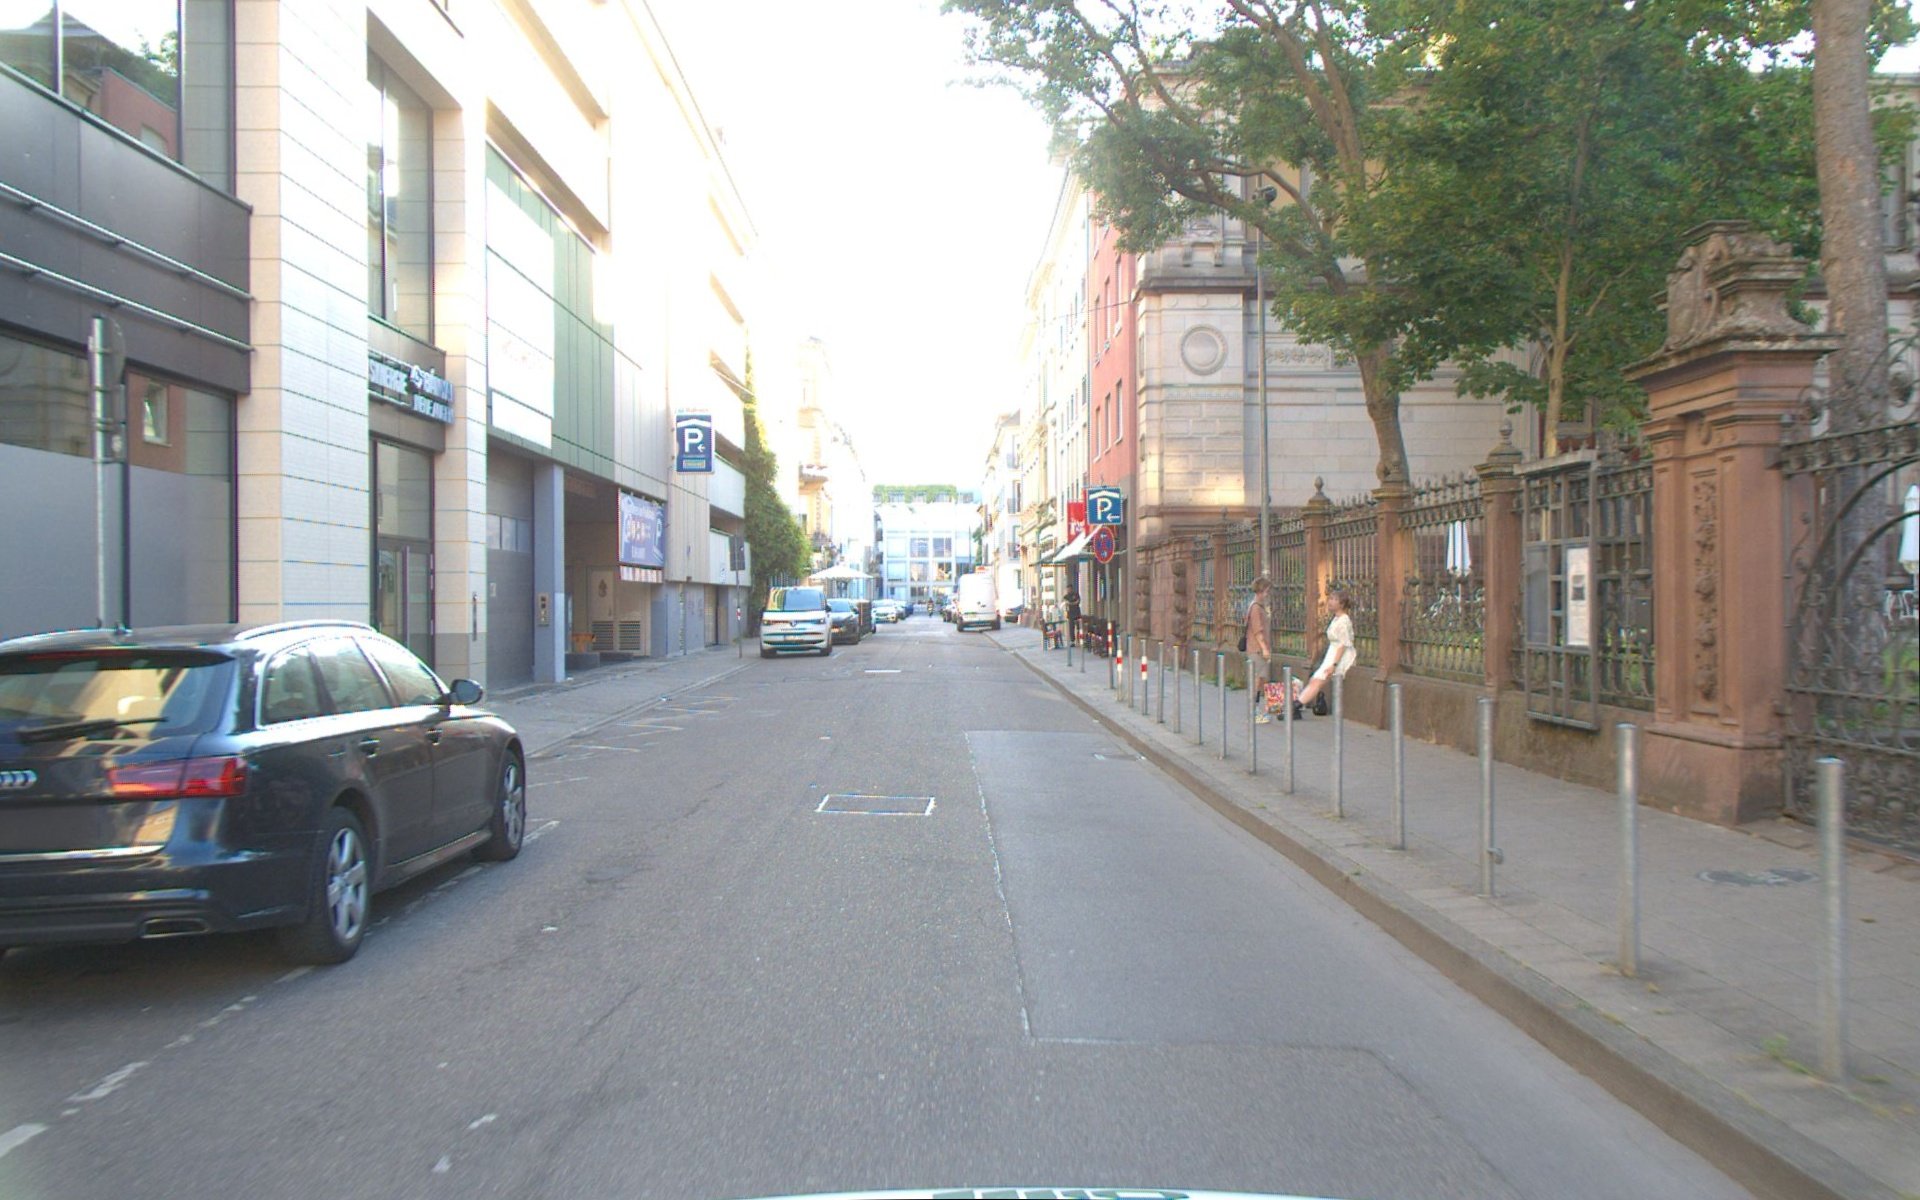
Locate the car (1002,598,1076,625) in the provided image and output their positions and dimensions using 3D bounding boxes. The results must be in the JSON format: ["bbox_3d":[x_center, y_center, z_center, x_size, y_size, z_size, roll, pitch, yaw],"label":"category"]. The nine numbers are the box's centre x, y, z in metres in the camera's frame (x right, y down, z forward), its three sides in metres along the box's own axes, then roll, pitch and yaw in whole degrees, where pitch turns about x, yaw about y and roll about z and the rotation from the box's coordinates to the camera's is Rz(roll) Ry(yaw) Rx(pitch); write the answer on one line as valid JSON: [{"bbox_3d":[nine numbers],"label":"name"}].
[{"bbox_3d":[4.312,0.616,90.618,3.906,1.445,1.656,0,-1,-1],"label":"car"}]

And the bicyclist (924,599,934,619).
[{"bbox_3d":[-2.910,0.839,154.672,0.970,1.901,0.708,0,-1,-1],"label":"bicyclist"}]

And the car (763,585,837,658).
[{"bbox_3d":[-4.451,0.569,46.574,1.846,1.945,4.745,0,0,-3],"label":"car"}]

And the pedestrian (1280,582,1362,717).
[{"bbox_3d":[4.227,0.573,19.393,0.735,1.526,0.618,-2,0,-7],"label":"pedestrian"}]

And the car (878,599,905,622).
[{"bbox_3d":[-5.324,0.820,128.563,1.953,1.713,3.999,0,-1,-1],"label":"car"}]

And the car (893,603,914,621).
[{"bbox_3d":[-5.376,1.143,158.704,1.953,1.713,3.999,0,-1,-1],"label":"car"}]

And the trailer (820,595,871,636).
[{"bbox_3d":[-4.604,0.628,67.030,1.953,1.584,3.998,0,-1,-2],"label":"trailer"}]

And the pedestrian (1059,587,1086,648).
[{"bbox_3d":[3.198,0.497,46.929,0.648,1.695,0.624,-2,0,-1],"label":"pedestrian"}]

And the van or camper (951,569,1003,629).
[{"bbox_3d":[0.786,-0.025,79.952,2.213,2.652,5.110,-5,-1,-1],"label":"van or camper"}]

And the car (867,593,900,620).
[{"bbox_3d":[-4.902,0.443,106.054,1.953,1.713,3.999,0,-1,-1],"label":"car"}]

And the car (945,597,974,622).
[{"bbox_3d":[-0.057,0.674,116.491,1.953,1.713,3.999,0,-1,-1],"label":"car"}]

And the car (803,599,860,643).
[{"bbox_3d":[-4.466,0.705,57.815,1.846,1.478,3.998,0,0,-3],"label":"car"}]

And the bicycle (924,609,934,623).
[{"bbox_3d":[-2.890,1.486,154.761,0.955,1.303,2.753,0,-1,-1],"label":"bicycle"}]

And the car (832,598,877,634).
[{"bbox_3d":[-4.529,0.668,71.511,1.846,1.478,3.998,0,0,-3],"label":"car"}]

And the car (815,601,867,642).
[{"bbox_3d":[-4.484,0.791,62.681,1.846,1.478,3.998,0,0,-3],"label":"car"}]

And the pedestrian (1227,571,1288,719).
[{"bbox_3d":[3.485,0.516,19.408,0.475,1.687,0.617,-2,0,-8],"label":"pedestrian"}]

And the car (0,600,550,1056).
[{"bbox_3d":[-3.514,0.821,8.282,1.845,1.626,4.688,0,0,-1],"label":"car"}]
